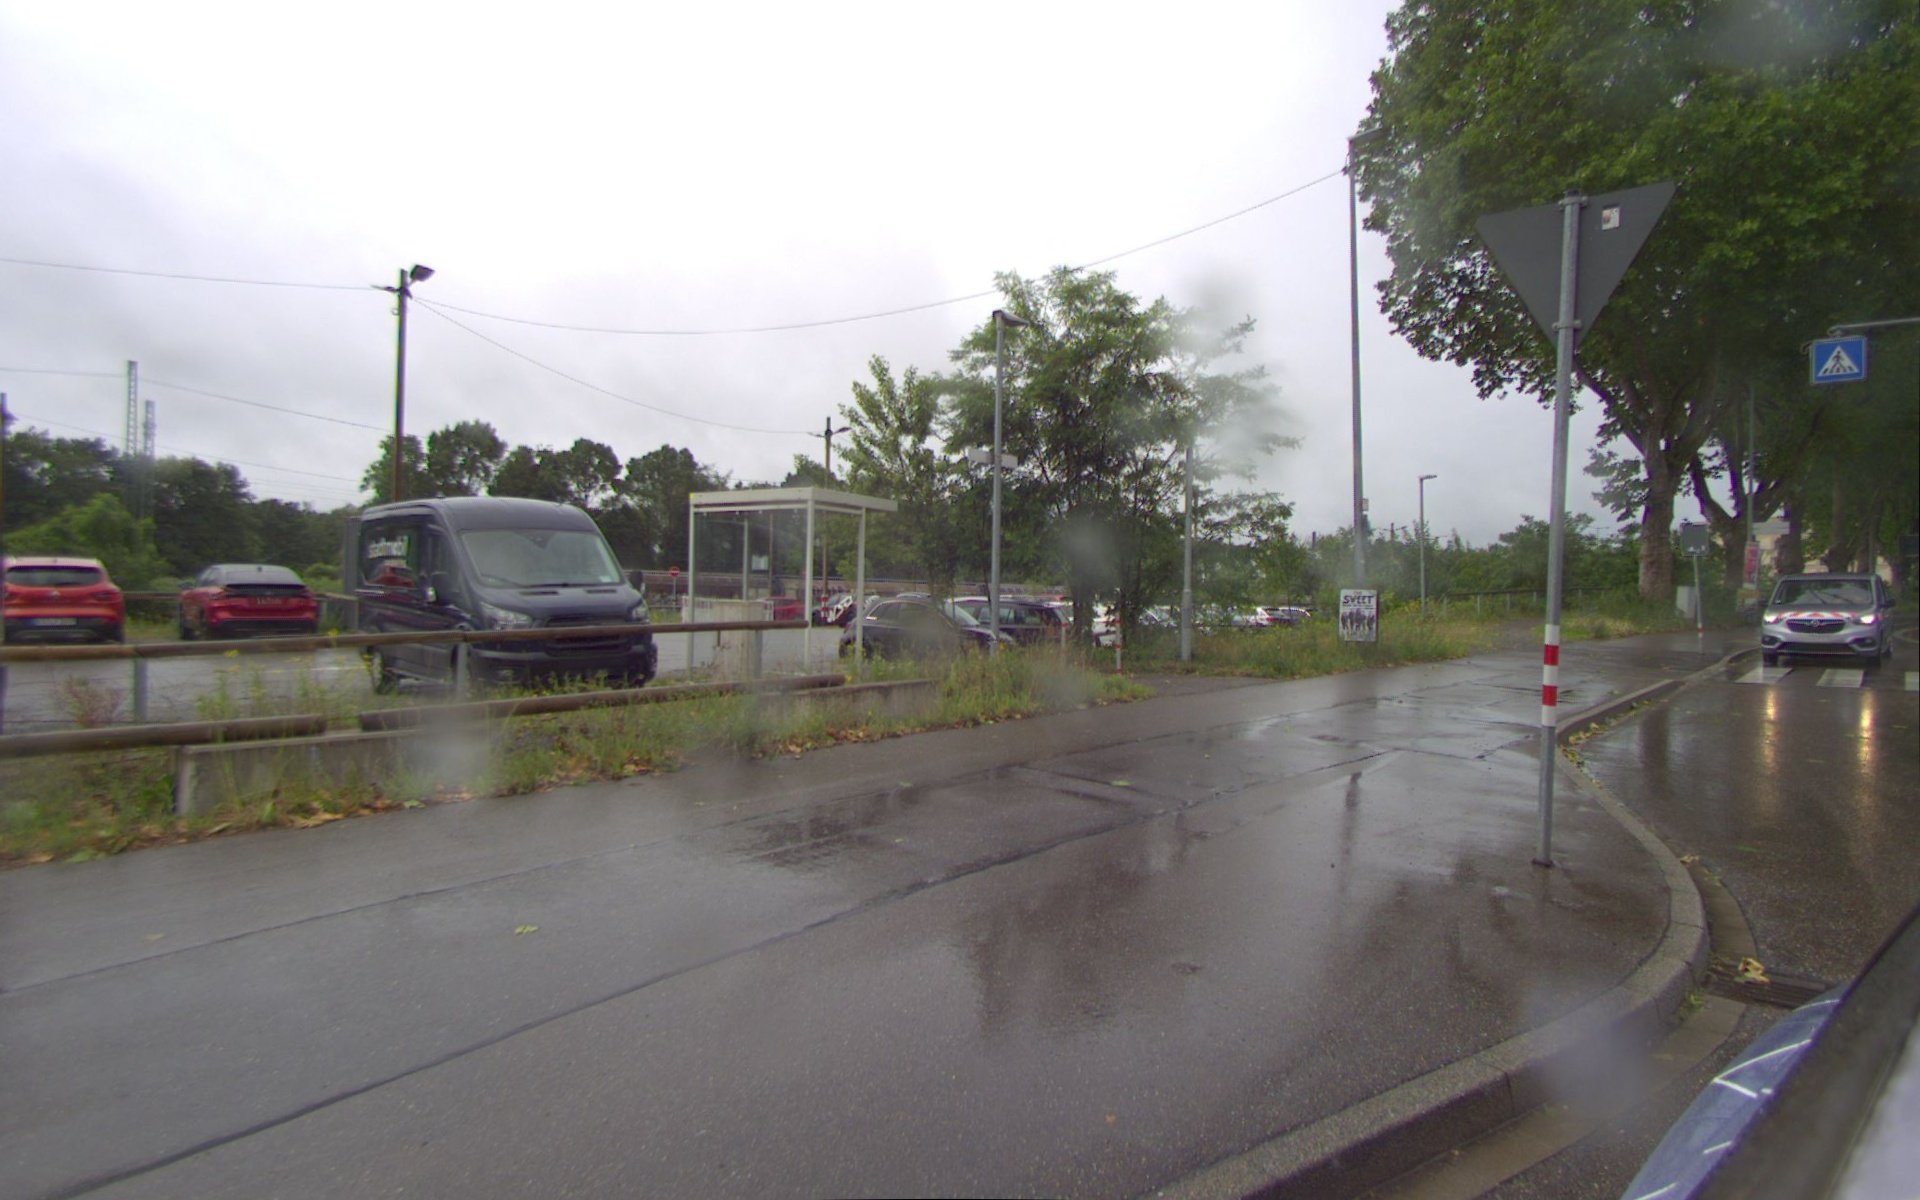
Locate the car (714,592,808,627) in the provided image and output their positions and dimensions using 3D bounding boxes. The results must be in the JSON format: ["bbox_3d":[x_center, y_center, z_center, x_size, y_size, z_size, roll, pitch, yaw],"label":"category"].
[{"bbox_3d":[-9.482,0.421,48.293,4.031,1.527,1.856,0,1,-41],"label":"car"}]

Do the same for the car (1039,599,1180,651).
[{"bbox_3d":[5.144,0.807,34.846,4.495,1.579,1.862,1,1,23],"label":"car"}]

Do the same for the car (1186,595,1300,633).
[{"bbox_3d":[12.107,0.567,43.435,4.365,1.448,1.854,2,1,34],"label":"car"}]

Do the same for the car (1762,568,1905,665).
[{"bbox_3d":[17.498,0.258,20.214,4.104,1.745,1.835,-1,1,-45],"label":"car"}]

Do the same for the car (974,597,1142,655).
[{"bbox_3d":[2.866,0.712,29.649,4.594,1.503,1.862,1,1,23],"label":"car"}]

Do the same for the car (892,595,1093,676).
[{"bbox_3d":[0.712,0.695,21.812,3.953,1.522,1.862,1,1,22],"label":"car"}]

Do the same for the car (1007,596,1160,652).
[{"bbox_3d":[3.905,0.718,31.984,4.495,1.579,1.862,1,1,23],"label":"car"}]

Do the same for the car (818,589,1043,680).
[{"bbox_3d":[-0.551,0.590,19.256,3.953,1.508,1.692,1,1,22],"label":"car"}]

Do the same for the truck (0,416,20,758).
[{"bbox_3d":[-9.299,-0.089,8.224,5.031,2.433,2.078,0,0,43],"label":"truck"}]

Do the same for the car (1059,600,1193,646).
[{"bbox_3d":[6.146,0.805,37.496,4.504,1.484,1.984,1,1,28],"label":"car"}]

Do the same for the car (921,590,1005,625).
[{"bbox_3d":[0.089,0.306,46.612,1.785,1.455,3.997,0,1,-38],"label":"car"}]

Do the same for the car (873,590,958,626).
[{"bbox_3d":[-2.019,0.335,45.020,1.785,1.455,3.997,0,1,-38],"label":"car"}]

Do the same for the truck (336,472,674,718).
[{"bbox_3d":[-5.739,-0.063,12.315,2.041,2.352,5.331,0,0,-45],"label":"truck"}]

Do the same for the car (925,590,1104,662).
[{"bbox_3d":[1.329,0.578,24.520,3.953,1.542,1.862,1,1,22],"label":"car"}]

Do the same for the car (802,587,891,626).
[{"bbox_3d":[-4.824,0.230,42.730,1.925,1.492,3.997,0,1,-38],"label":"car"}]

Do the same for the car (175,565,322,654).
[{"bbox_3d":[-13.722,0.096,19.435,1.811,1.467,3.993,-1,3,-43],"label":"car"}]

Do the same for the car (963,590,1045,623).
[{"bbox_3d":[2.099,0.283,48.890,1.785,1.455,3.997,0,1,-38],"label":"car"}]

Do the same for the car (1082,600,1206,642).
[{"bbox_3d":[7.224,0.777,39.669,4.495,1.448,1.862,1,1,23],"label":"car"}]

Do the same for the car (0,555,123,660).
[{"bbox_3d":[-15.552,0.037,17.247,1.777,1.556,3.958,-1,3,-43],"label":"car"}]
